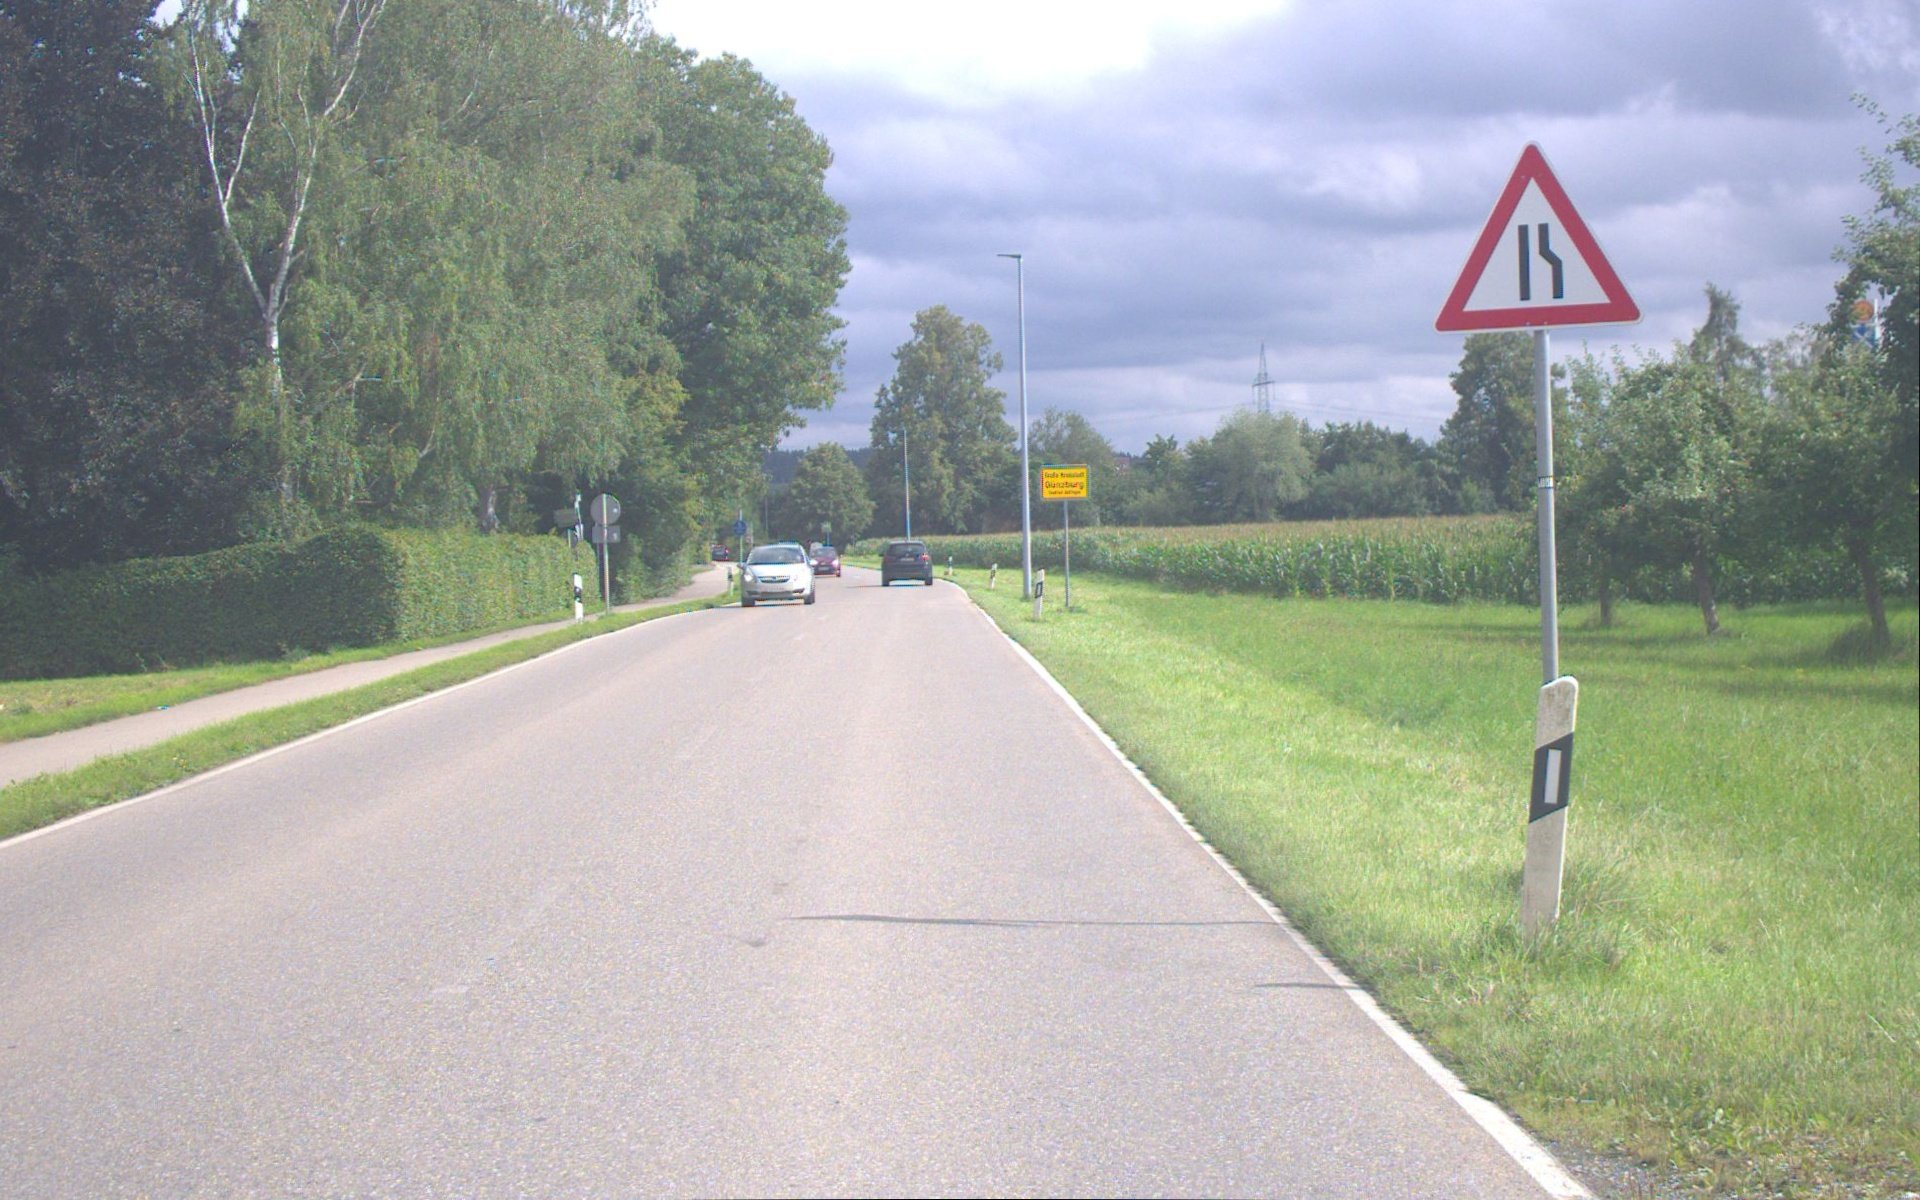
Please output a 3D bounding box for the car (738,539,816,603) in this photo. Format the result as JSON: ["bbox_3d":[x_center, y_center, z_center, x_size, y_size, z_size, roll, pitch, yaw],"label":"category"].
[{"bbox_3d":[-4.369,-0.719,82.417,1.695,1.454,3.543,-2,1,-1],"label":"car"}]

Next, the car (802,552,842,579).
[{"bbox_3d":[-6.623,-1.659,165.519,1.745,1.218,3.543,-2,0,-1],"label":"car"}]

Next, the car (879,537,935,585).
[{"bbox_3d":[-1.973,-1.462,127.317,1.906,1.660,4.000,-2,1,-2],"label":"car"}]
